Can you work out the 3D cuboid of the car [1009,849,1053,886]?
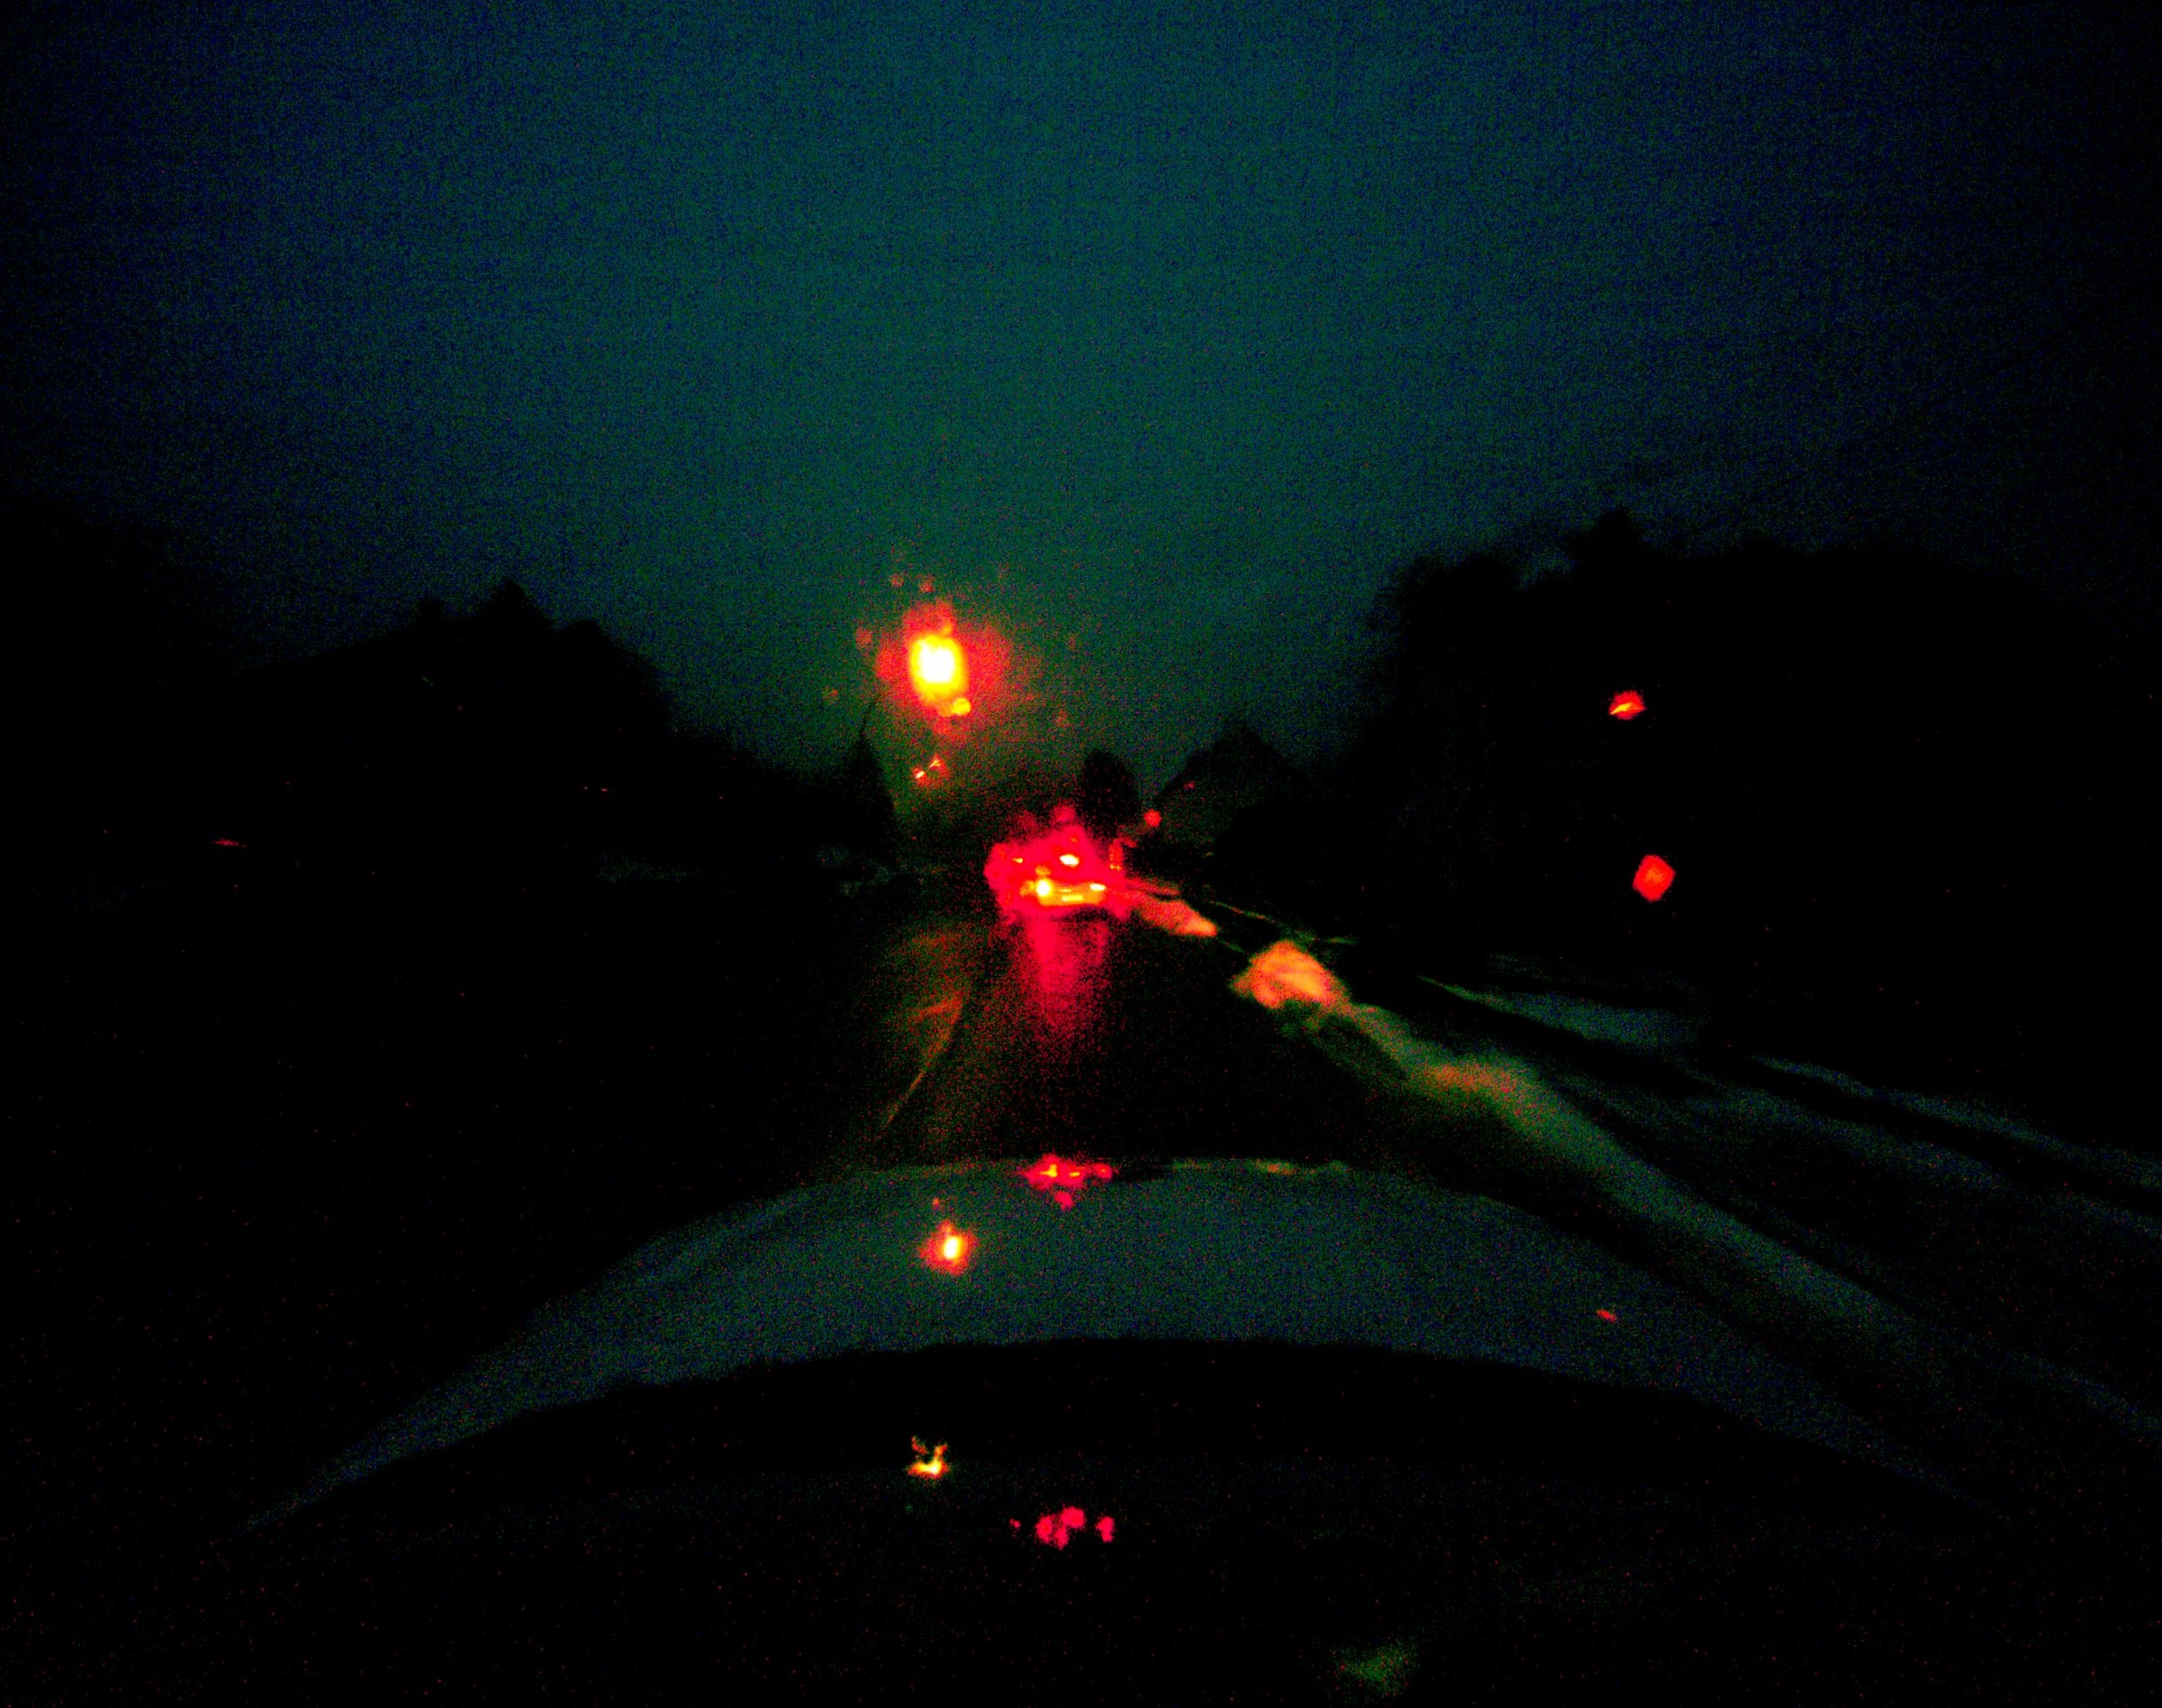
[{"bbox_3d":[-2.531,0.674,40.635,1.991,1.737,3.870,-1,-1,-6],"label":"car"}]

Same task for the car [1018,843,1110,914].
[{"bbox_3d":[-0.540,0.598,20.812,1.896,1.609,3.989,-1,-1,-8],"label":"car"}]
